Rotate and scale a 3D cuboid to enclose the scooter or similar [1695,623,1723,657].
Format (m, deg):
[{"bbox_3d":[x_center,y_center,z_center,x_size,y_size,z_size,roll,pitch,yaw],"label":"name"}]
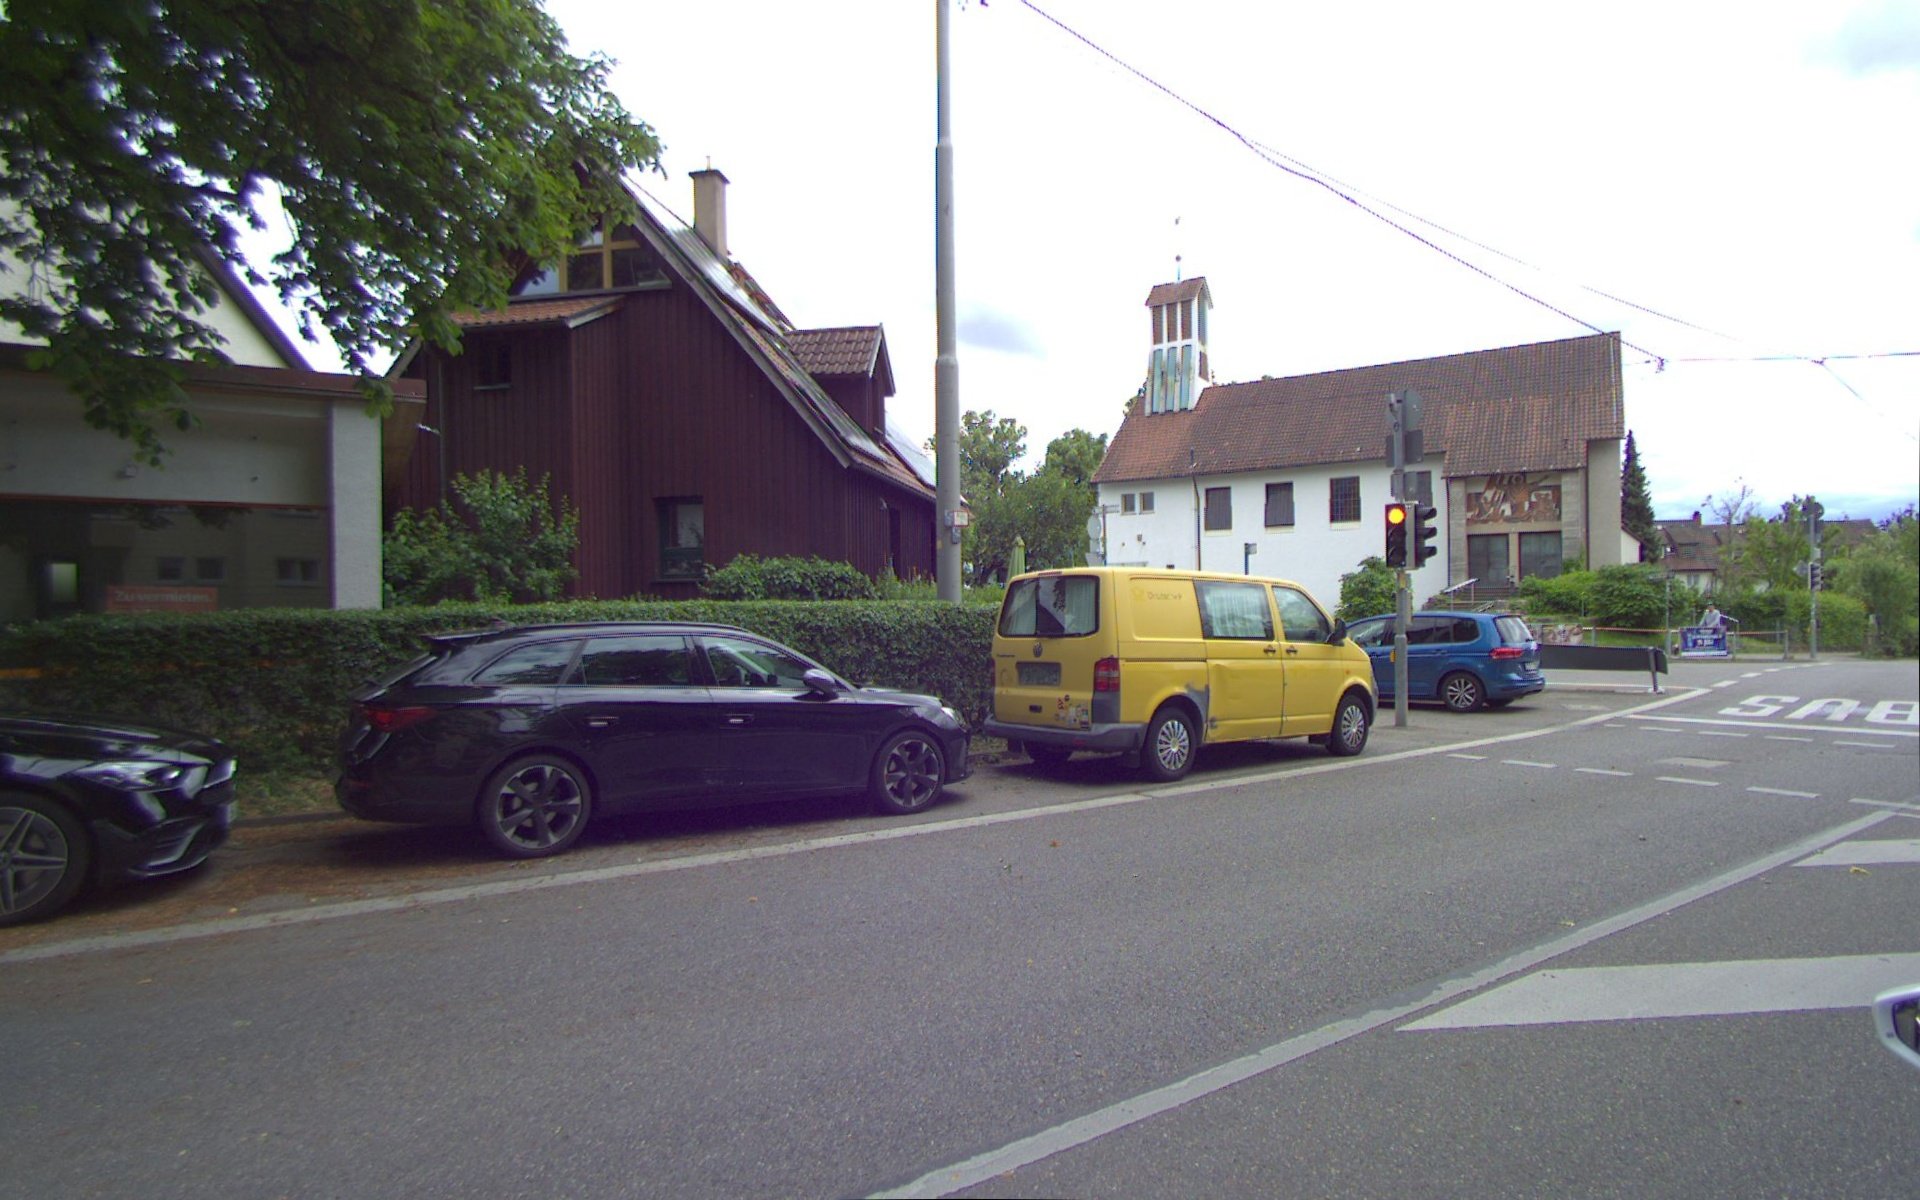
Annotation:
[{"bbox_3d":[23.964,1.271,32.125,1.104,1.095,0.570,1,-2,-45],"label":"scooter or similar"}]

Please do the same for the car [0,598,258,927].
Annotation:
[{"bbox_3d":[-6.214,0.763,4.751,4.561,1.520,1.984,1,-2,-31],"label":"car"}]

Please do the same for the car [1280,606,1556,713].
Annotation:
[{"bbox_3d":[7.812,0.991,17.362,1.806,1.632,3.948,1,-3,-44],"label":"car"}]

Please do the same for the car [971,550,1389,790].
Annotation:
[{"bbox_3d":[2.460,0.647,10.680,4.523,2.040,1.870,1,-2,-37],"label":"car"}]

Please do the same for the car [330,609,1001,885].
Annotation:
[{"bbox_3d":[-1.997,0.845,7.436,4.494,1.505,1.681,1,-2,-34],"label":"car"}]

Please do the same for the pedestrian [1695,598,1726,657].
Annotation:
[{"bbox_3d":[24.554,0.901,32.879,0.563,1.887,0.886,-1,-1,21],"label":"pedestrian"}]
